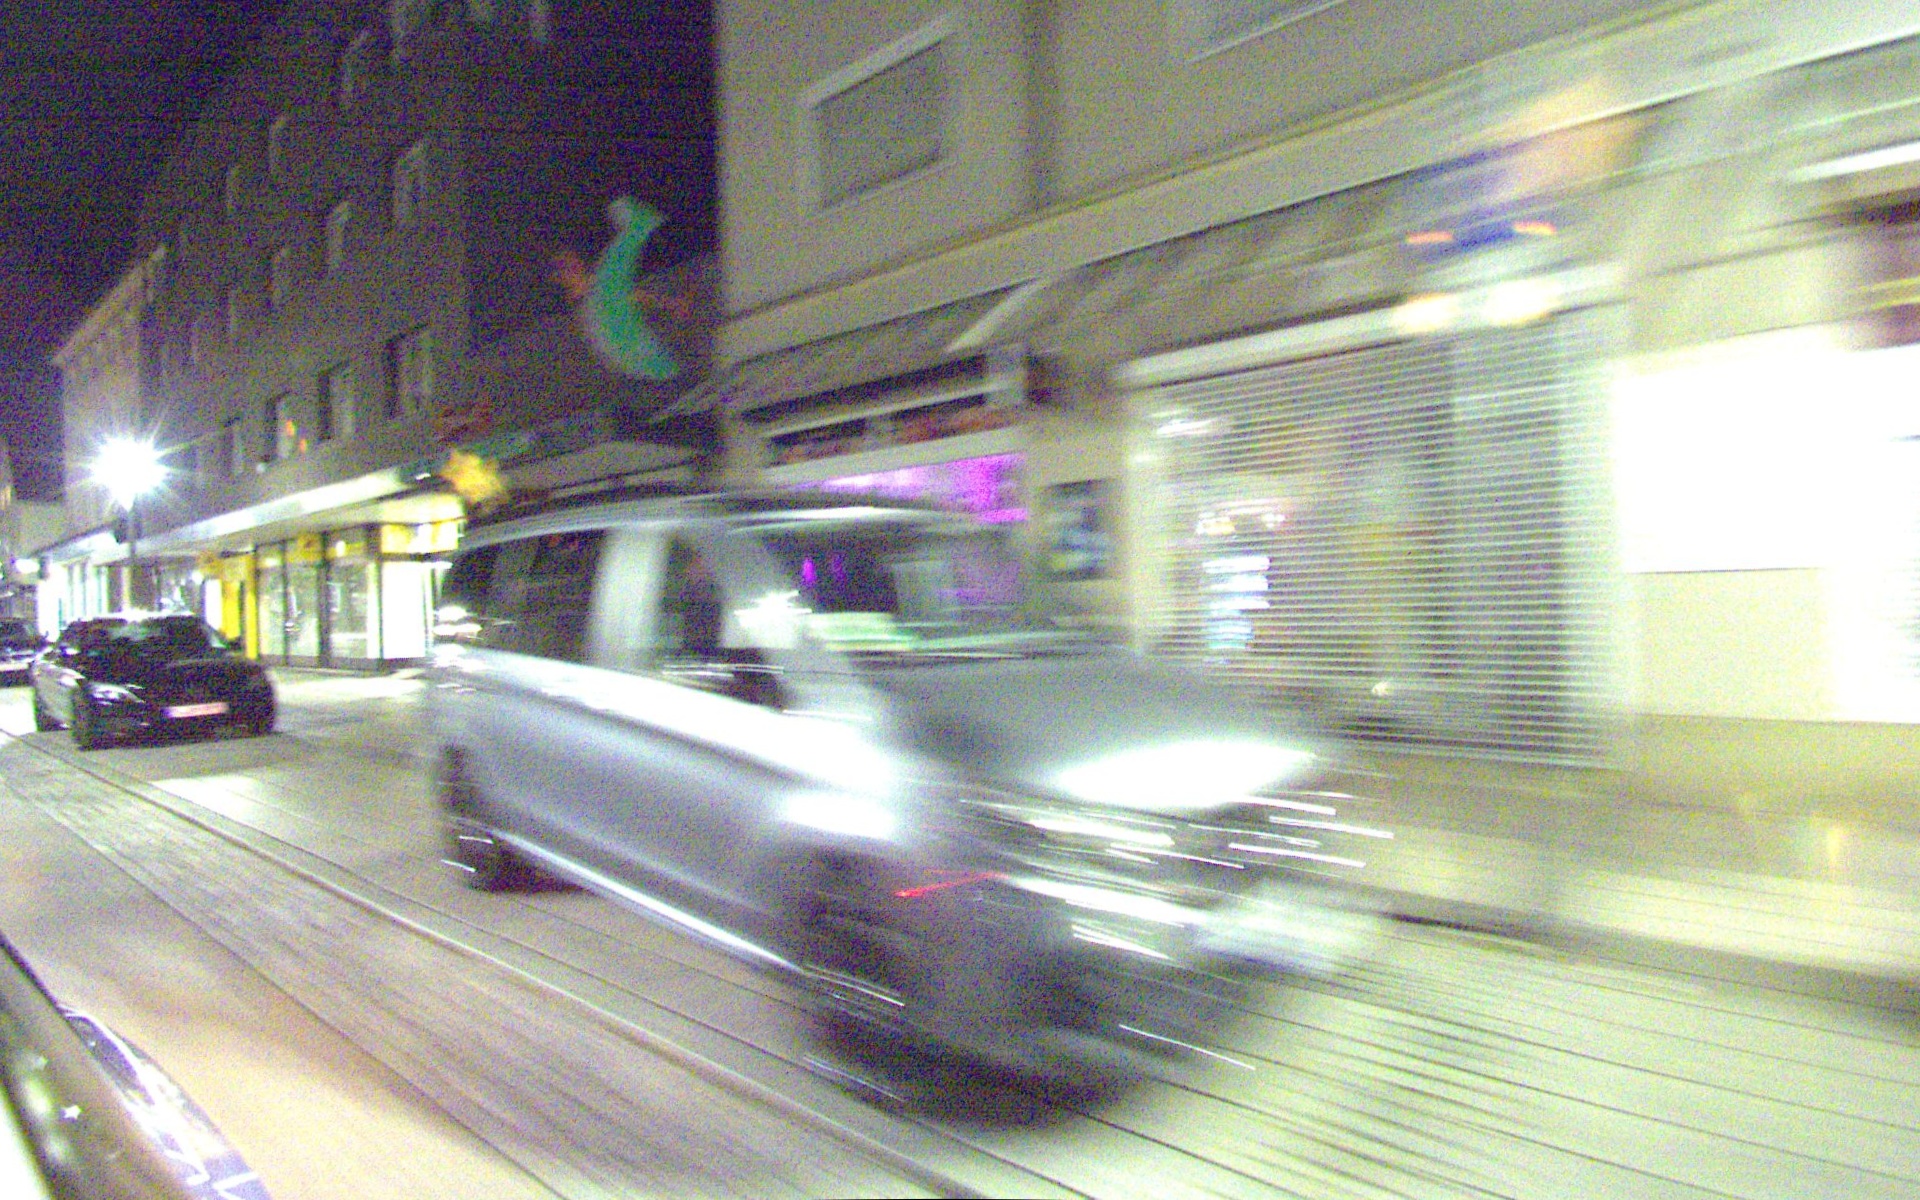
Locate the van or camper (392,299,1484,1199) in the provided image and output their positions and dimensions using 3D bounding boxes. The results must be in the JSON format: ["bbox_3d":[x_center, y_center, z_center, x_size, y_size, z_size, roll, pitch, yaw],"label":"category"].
[{"bbox_3d":[-0.746,0.391,4.518,1.824,1.956,5.157,-1,0,-44],"label":"van or camper"}]

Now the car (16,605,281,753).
[{"bbox_3d":[-9.831,0.819,12.135,4.383,1.423,1.699,-1,1,41],"label":"car"}]

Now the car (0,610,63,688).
[{"bbox_3d":[-20.598,1.013,21.396,4.317,1.489,1.780,-1,2,40],"label":"car"}]
